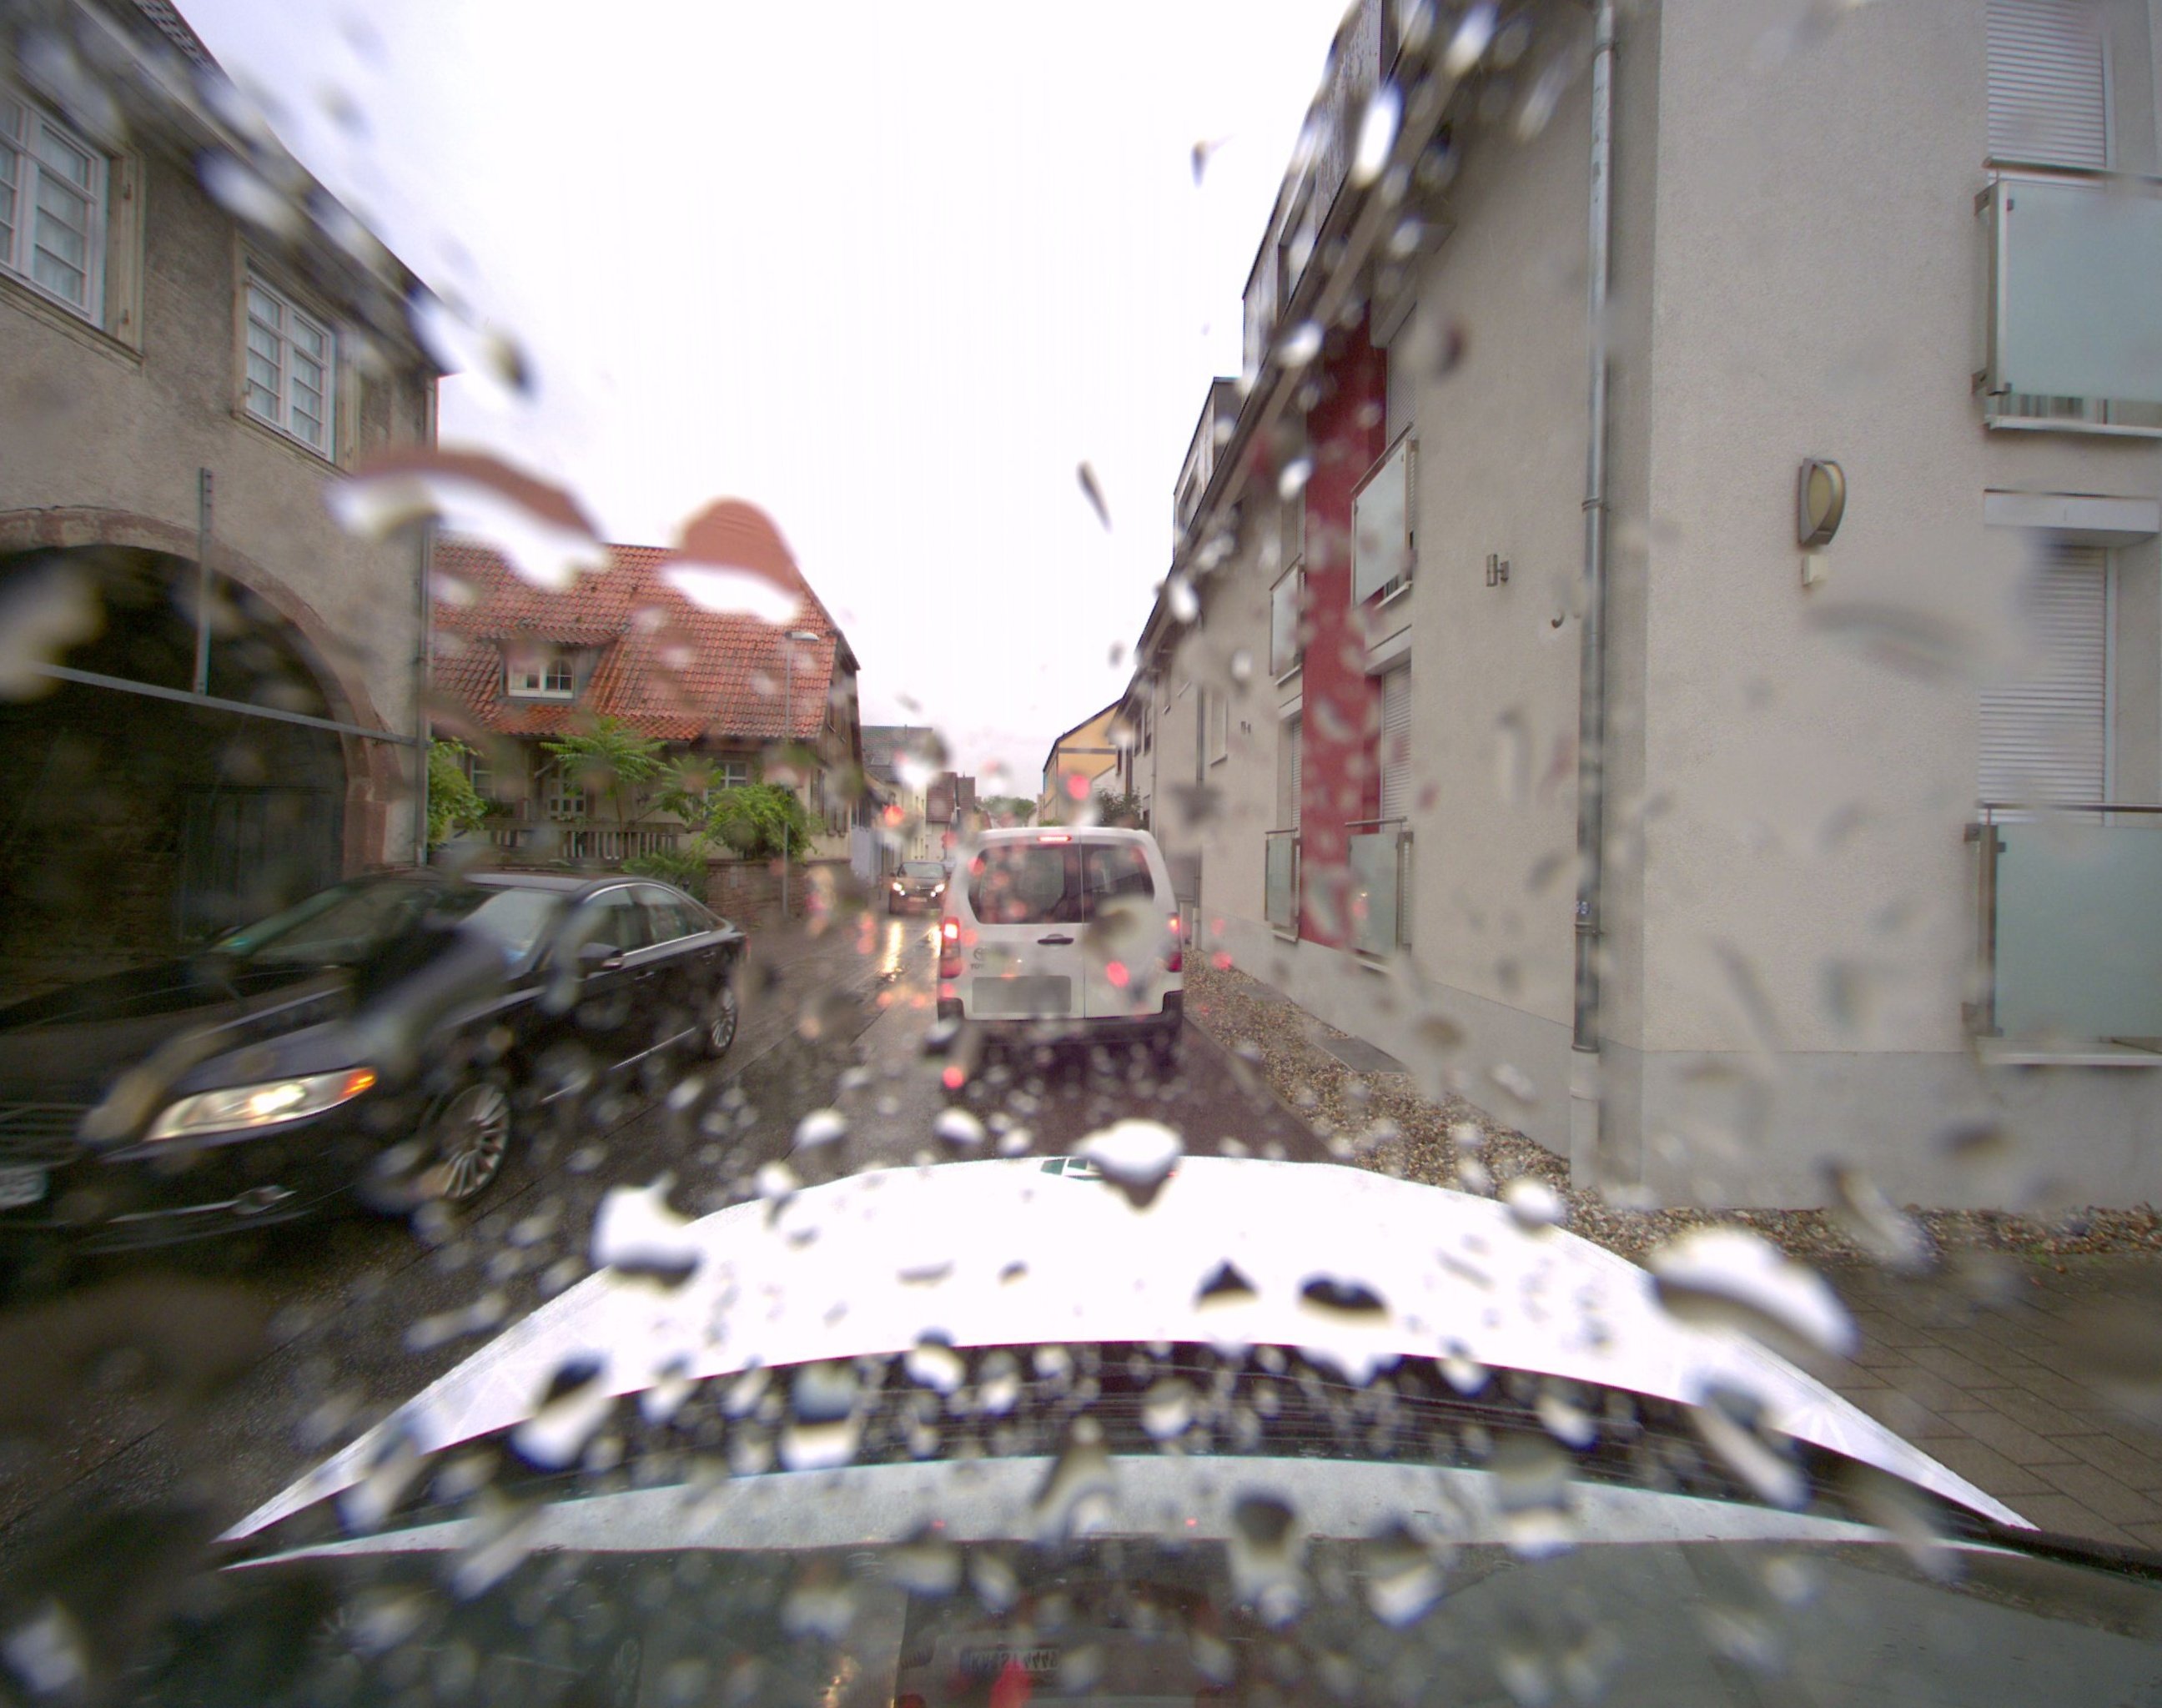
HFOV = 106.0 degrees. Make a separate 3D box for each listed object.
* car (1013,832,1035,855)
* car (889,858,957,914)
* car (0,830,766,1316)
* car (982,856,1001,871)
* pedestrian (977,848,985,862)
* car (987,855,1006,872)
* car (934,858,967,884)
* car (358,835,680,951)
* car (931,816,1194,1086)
[{"bbox_3d":[-5.304,-0.957,76.670,1.989,2.014,3.995,0,-1,-3],"label":"car"},{"bbox_3d":[-4.639,0.893,24.335,1.602,1.513,3.681,1,0,-5],"label":"car"},{"bbox_3d":[-3.435,0.705,4.725,1.692,1.509,4.336,2,-1,-4],"label":"car"},{"bbox_3d":[-8.966,0.952,81.542,1.778,1.395,3.989,0,-1,-7],"label":"car"},{"bbox_3d":[-13.242,0.131,107.523,1.049,1.893,0.875,0,-1,-7],"label":"pedestrian"},{"bbox_3d":[-7.446,0.844,71.249,1.559,1.477,3.990,0,-1,-7],"label":"car"},{"bbox_3d":[-8.002,1.018,50.064,1.831,1.556,4.228,1,-1,-7],"label":"car"},{"bbox_3d":[-9.118,0.614,13.449,3.973,1.425,1.736,5,-1,1],"label":"car"},{"bbox_3d":[-0.332,0.650,7.469,1.773,1.780,3.991,0,-1,-7],"label":"car"}]
